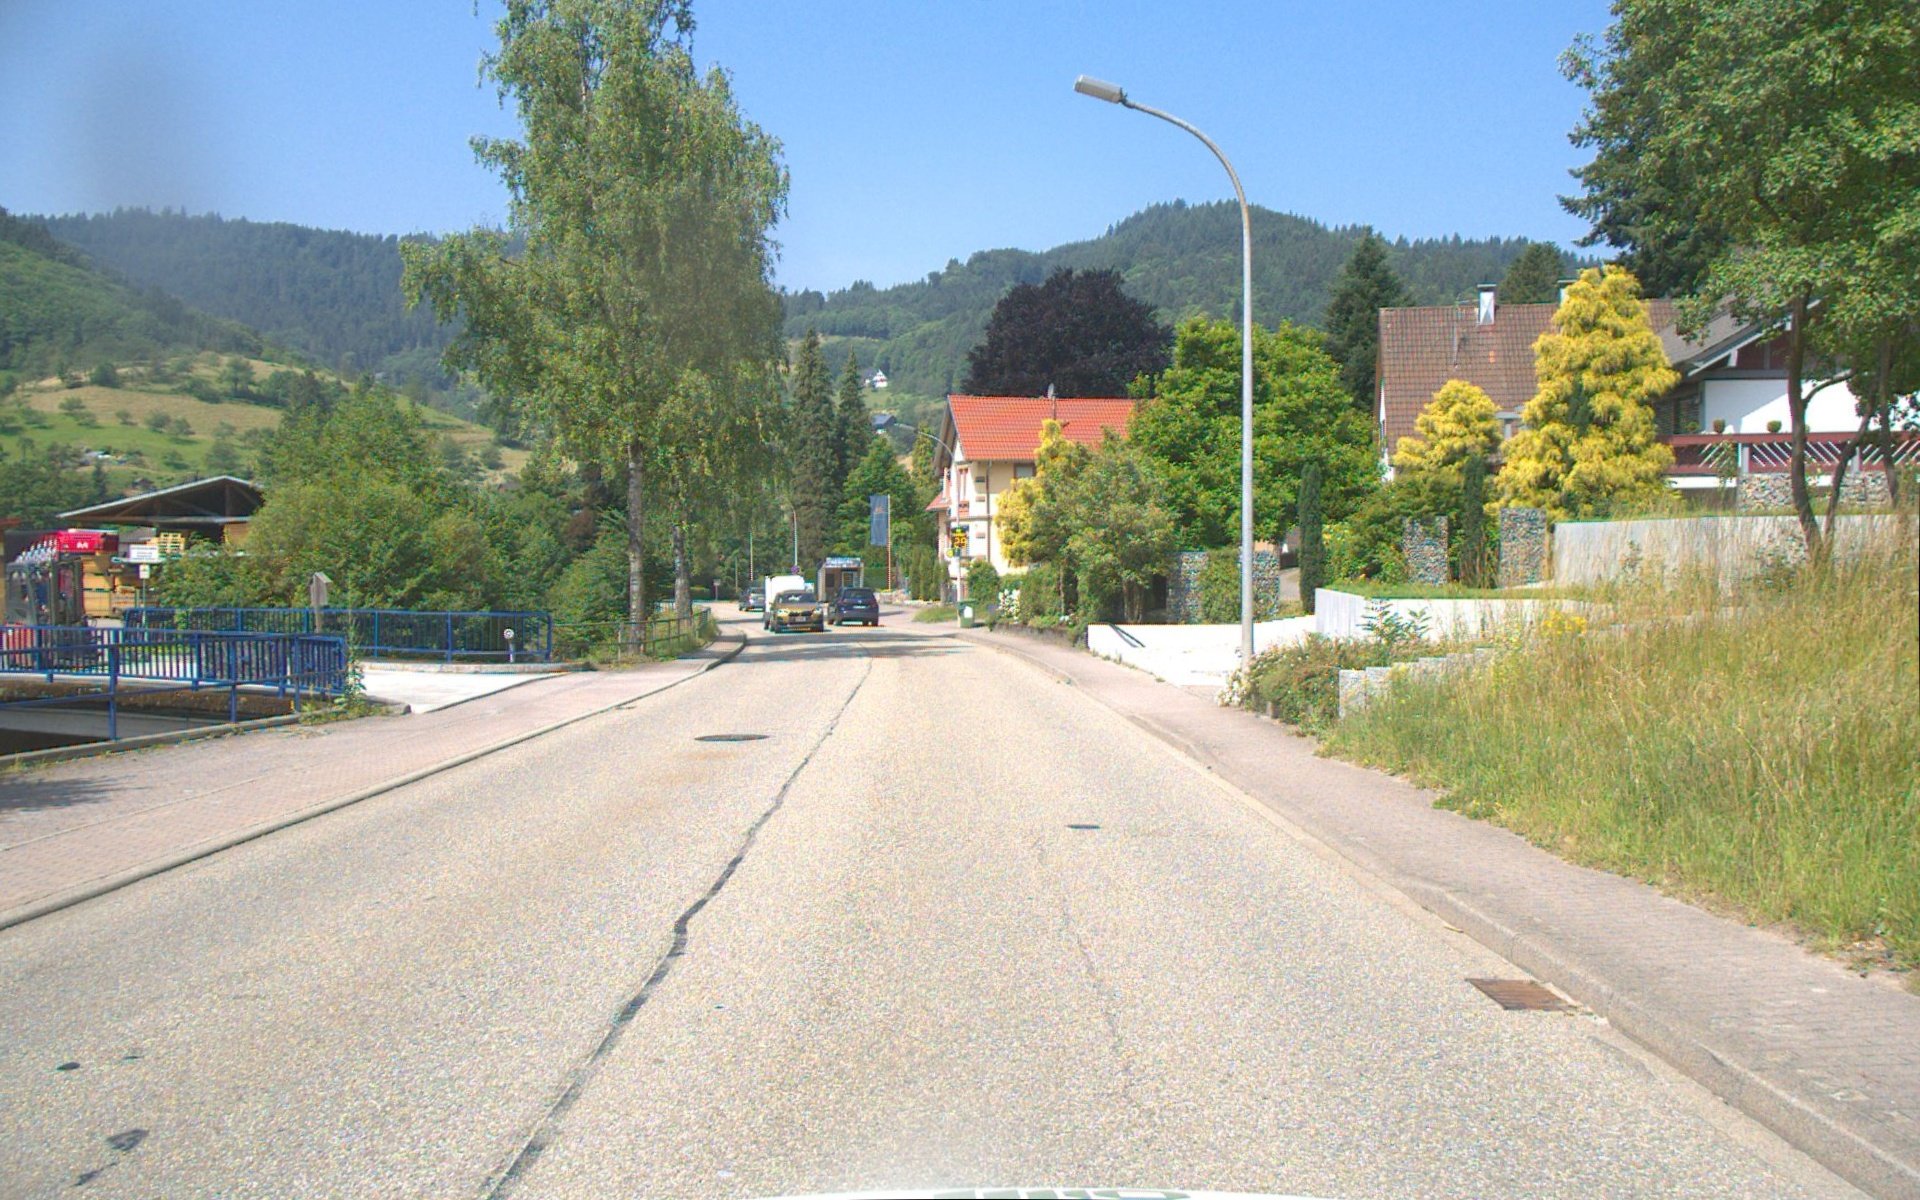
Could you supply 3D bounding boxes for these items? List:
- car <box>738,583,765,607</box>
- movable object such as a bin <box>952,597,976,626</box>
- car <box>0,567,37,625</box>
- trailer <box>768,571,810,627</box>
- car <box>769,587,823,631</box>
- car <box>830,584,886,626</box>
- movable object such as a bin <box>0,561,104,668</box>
[{"bbox_3d":[-12.985,-0.333,102.833,1.599,1.447,3.391,0,0,-9],"label":"car"},{"bbox_3d":[0.146,0.436,62.190,0.794,1.060,0.578,-1,1,-9],"label":"movable object such as a bin"},{"bbox_3d":[-34.971,-0.094,58.103,1.961,2.049,3.983,-2,1,37],"label":"car"},{"bbox_3d":[-6.848,-0.056,66.379,1.438,2.114,3.668,-1,0,-3],"label":"trailer"},{"bbox_3d":[-6.057,0.304,61.469,1.777,1.527,4.146,-1,0,-3],"label":"car"},{"bbox_3d":[-4.404,0.206,70.812,1.885,1.728,3.778,-1,0,-11],"label":"car"},{"bbox_3d":[-18.612,0.300,33.594,2.078,2.108,1.135,-1,0,27],"label":"movable object such as a bin"}]
